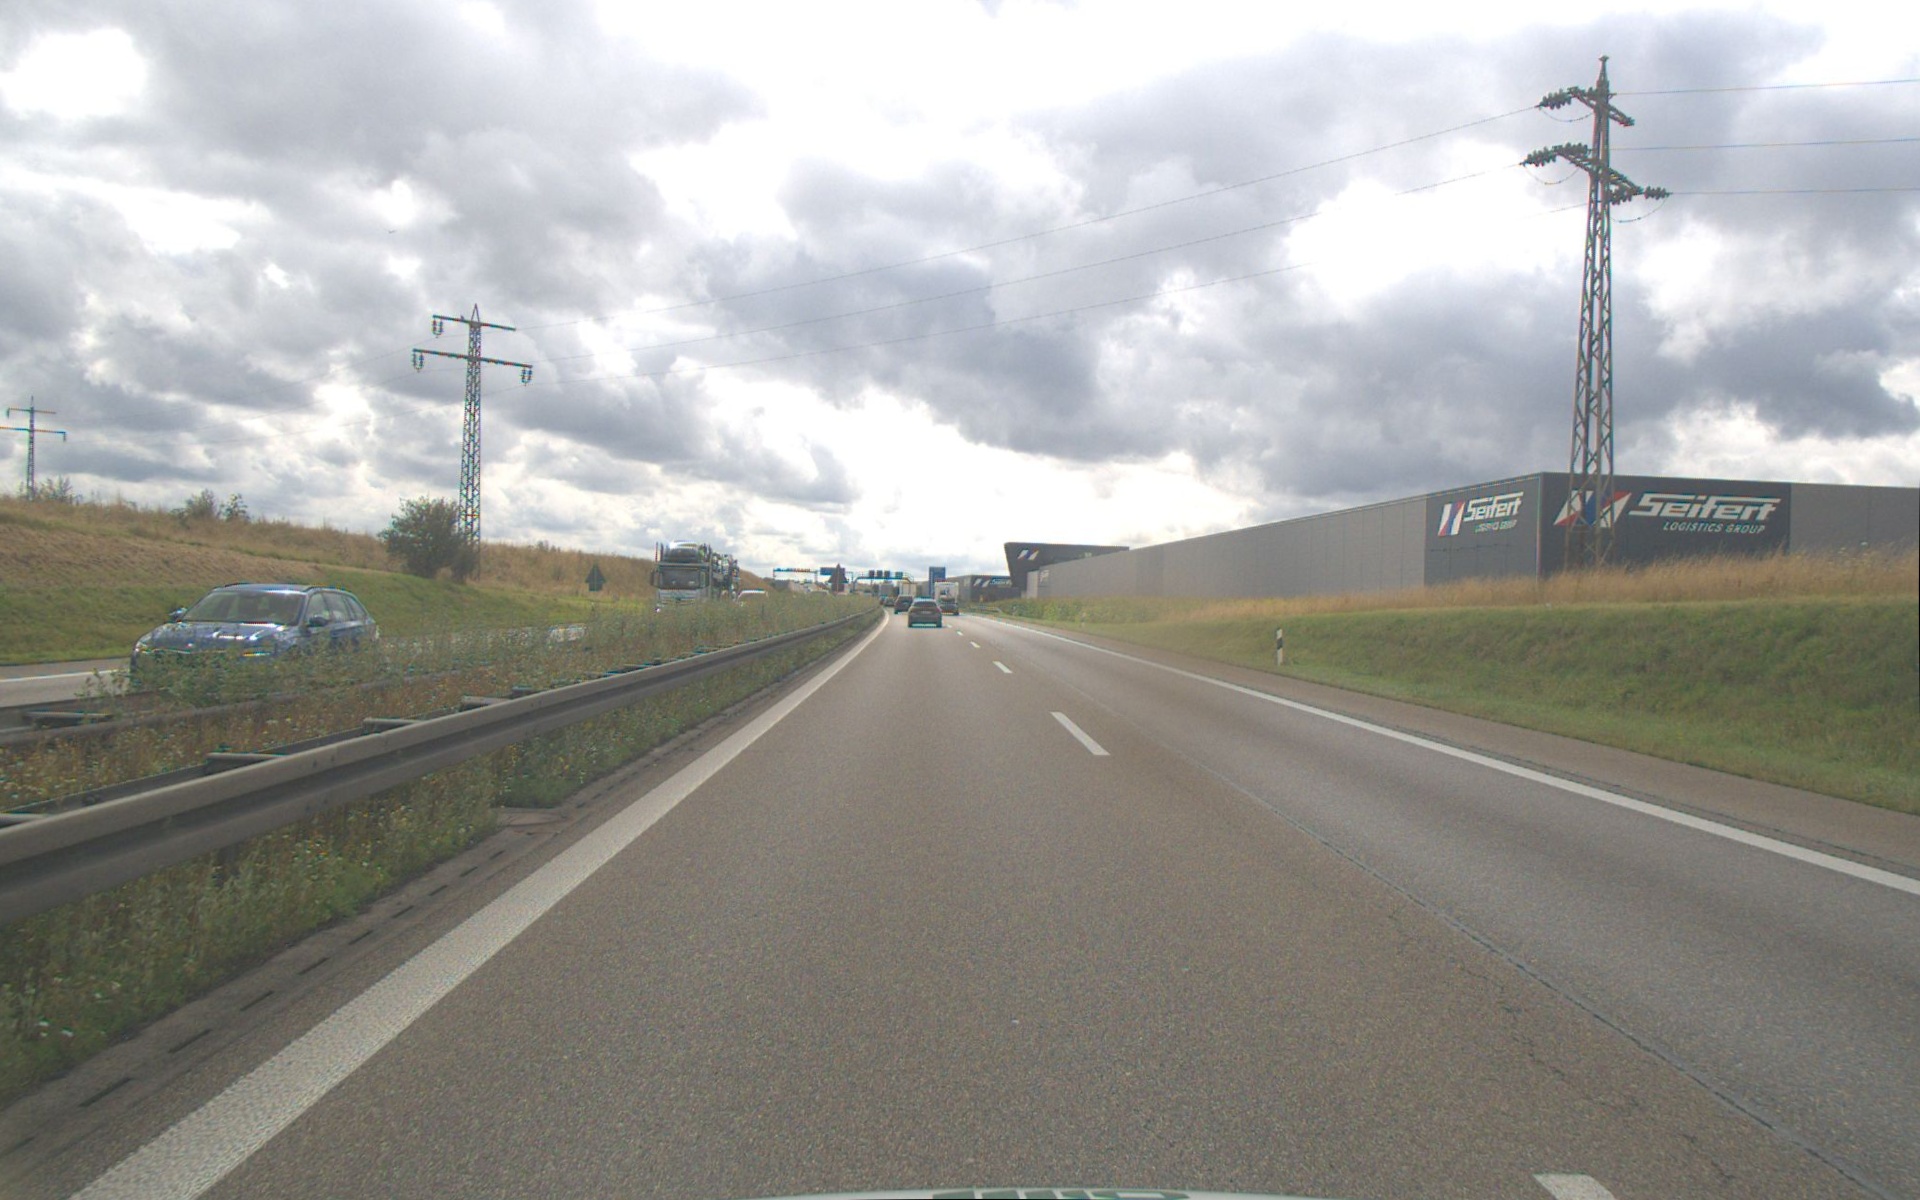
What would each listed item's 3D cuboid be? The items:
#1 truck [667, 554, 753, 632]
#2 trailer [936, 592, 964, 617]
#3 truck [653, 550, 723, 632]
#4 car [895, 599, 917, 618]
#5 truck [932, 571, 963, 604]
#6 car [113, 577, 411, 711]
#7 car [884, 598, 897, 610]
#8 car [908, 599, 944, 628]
[{"bbox_3d":[-13.990,-0.388,94.161,2.668,4.005,17.396,0,0,-1],"label":"truck"},{"bbox_3d":[-0.940,0.423,149.196,2.292,2.174,3.997,1,0,-3],"label":"trailer"},{"bbox_3d":[-13.730,-0.464,83.793,2.668,4.005,5.985,0,0,-2],"label":"truck"},{"bbox_3d":[-5.072,0.758,155.178,1.907,1.714,3.997,1,0,-3],"label":"car"},{"bbox_3d":[-1.195,-1.117,156.318,2.434,3.002,5.808,1,0,-5],"label":"truck"},{"bbox_3d":[-8.688,0.511,21.067,1.953,1.482,4.442,1,0,-1],"label":"car"},{"bbox_3d":[-10.369,0.568,245.851,1.904,1.806,3.695,1,0,-2],"label":"car"},{"bbox_3d":[-1.803,0.694,87.008,1.711,1.478,3.997,1,0,-3],"label":"car"}]
